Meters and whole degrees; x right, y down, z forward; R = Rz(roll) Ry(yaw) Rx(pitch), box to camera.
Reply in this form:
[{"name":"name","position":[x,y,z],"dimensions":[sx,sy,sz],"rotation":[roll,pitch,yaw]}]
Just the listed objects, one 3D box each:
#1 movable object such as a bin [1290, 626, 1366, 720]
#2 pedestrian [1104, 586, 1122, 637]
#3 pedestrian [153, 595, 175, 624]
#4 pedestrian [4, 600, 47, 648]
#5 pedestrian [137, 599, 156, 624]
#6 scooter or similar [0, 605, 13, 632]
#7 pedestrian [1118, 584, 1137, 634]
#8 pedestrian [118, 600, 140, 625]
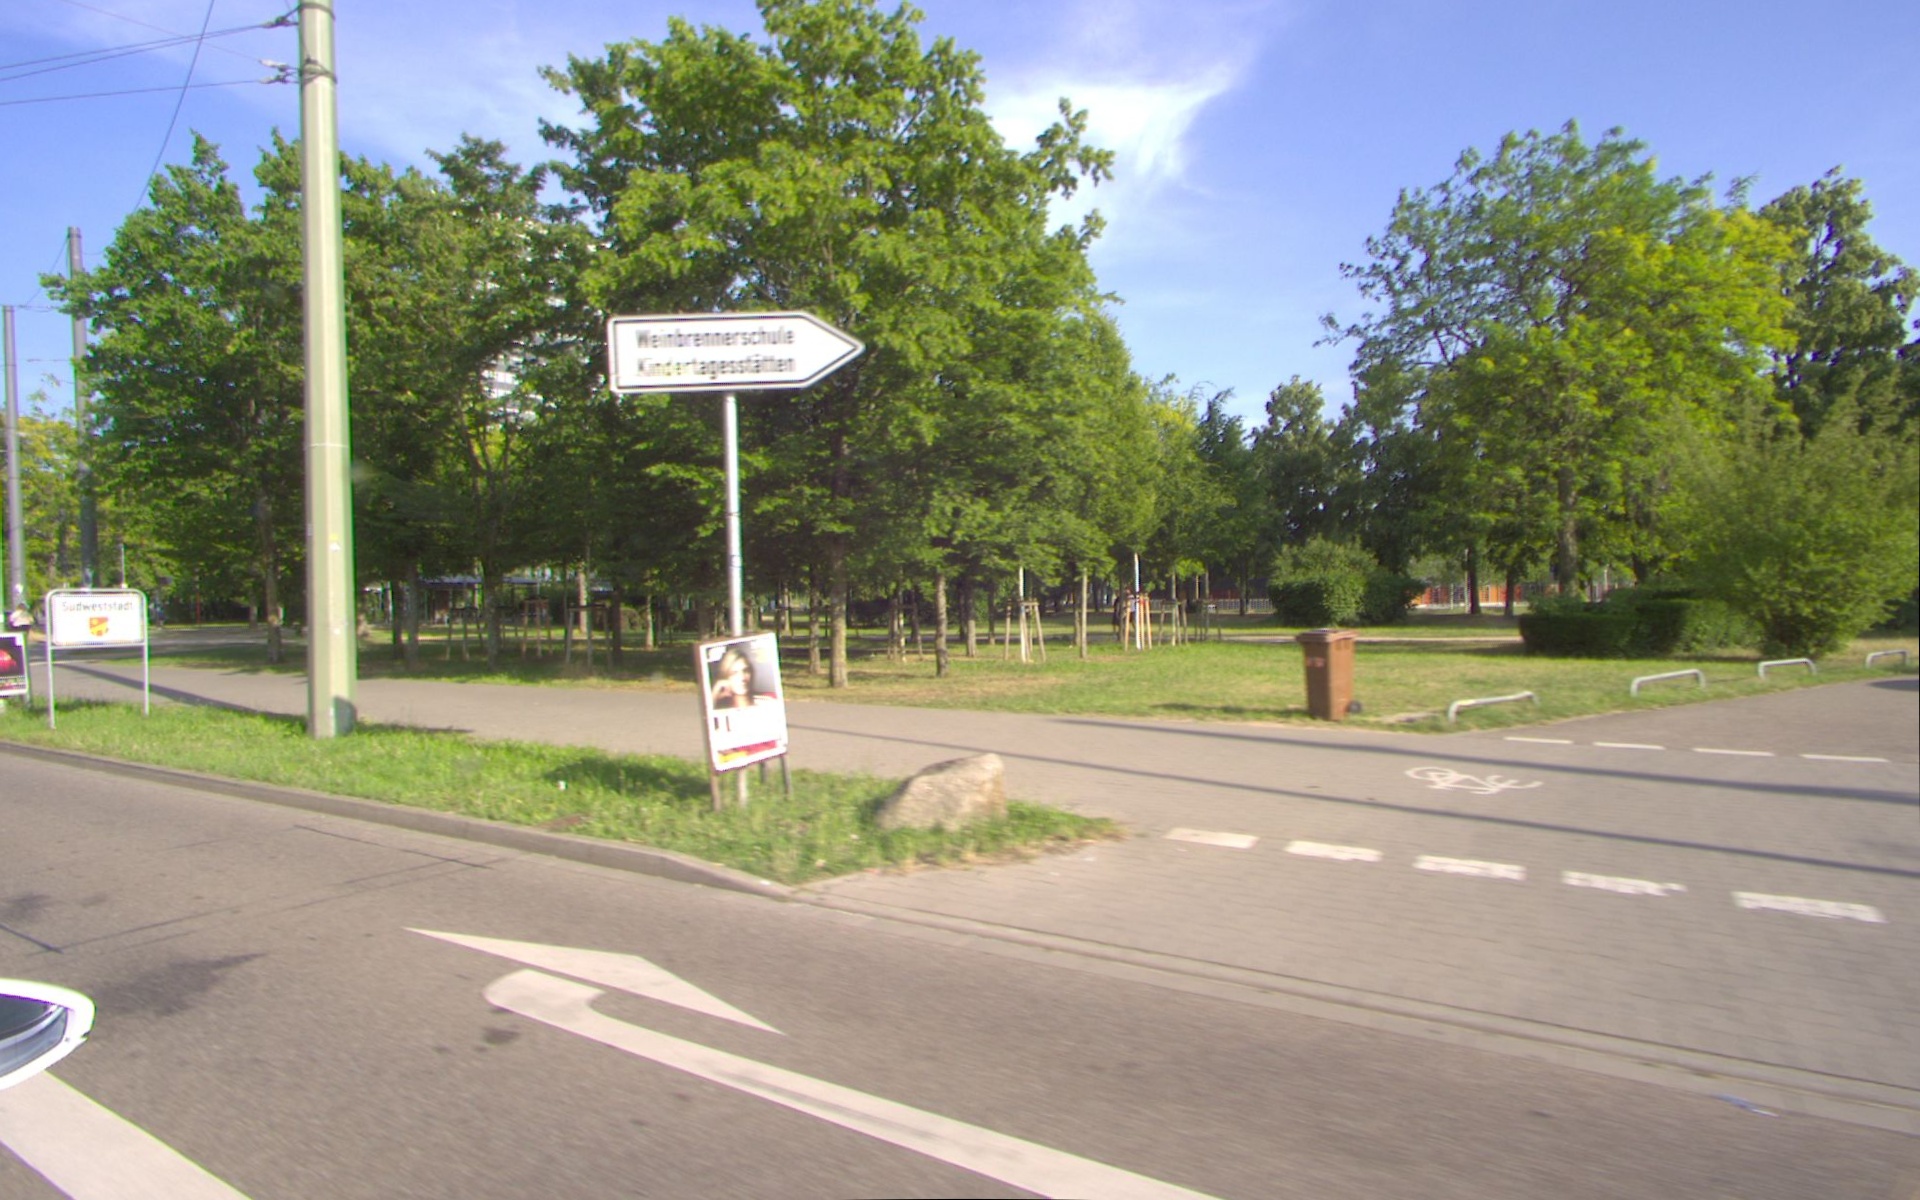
[{"name":"movable object such as a bin","position":[3.838,0.751,10.453],"dimensions":[0.594,0.930,0.455],"rotation":[-1,1,-17]},{"name":"pedestrian","position":[5.541,0.423,36.235],"dimensions":[0.617,1.836,0.502],"rotation":[-1,1,6]},{"name":"pedestrian","position":[-50.385,0.585,63.396],"dimensions":[0.826,1.809,0.799],"rotation":[0,1,28]},{"name":"pedestrian","position":[-33.109,0.846,35.485],"dimensions":[0.793,1.659,0.754],"rotation":[-1,1,-7]},{"name":"pedestrian","position":[-50.119,0.693,61.665],"dimensions":[0.805,1.507,0.696],"rotation":[-1,1,-33]},{"name":"scooter or similar","position":[-41.489,0.808,43.084],"dimensions":[1.305,1.132,0.420],"rotation":[-1,1,12]},{"name":"pedestrian","position":[6.193,0.321,36.991],"dimensions":[0.617,1.836,0.502],"rotation":[-1,1,3]},{"name":"pedestrian","position":[-51.159,0.746,61.680],"dimensions":[0.687,1.507,0.815],"rotation":[-1,1,-9]}]
